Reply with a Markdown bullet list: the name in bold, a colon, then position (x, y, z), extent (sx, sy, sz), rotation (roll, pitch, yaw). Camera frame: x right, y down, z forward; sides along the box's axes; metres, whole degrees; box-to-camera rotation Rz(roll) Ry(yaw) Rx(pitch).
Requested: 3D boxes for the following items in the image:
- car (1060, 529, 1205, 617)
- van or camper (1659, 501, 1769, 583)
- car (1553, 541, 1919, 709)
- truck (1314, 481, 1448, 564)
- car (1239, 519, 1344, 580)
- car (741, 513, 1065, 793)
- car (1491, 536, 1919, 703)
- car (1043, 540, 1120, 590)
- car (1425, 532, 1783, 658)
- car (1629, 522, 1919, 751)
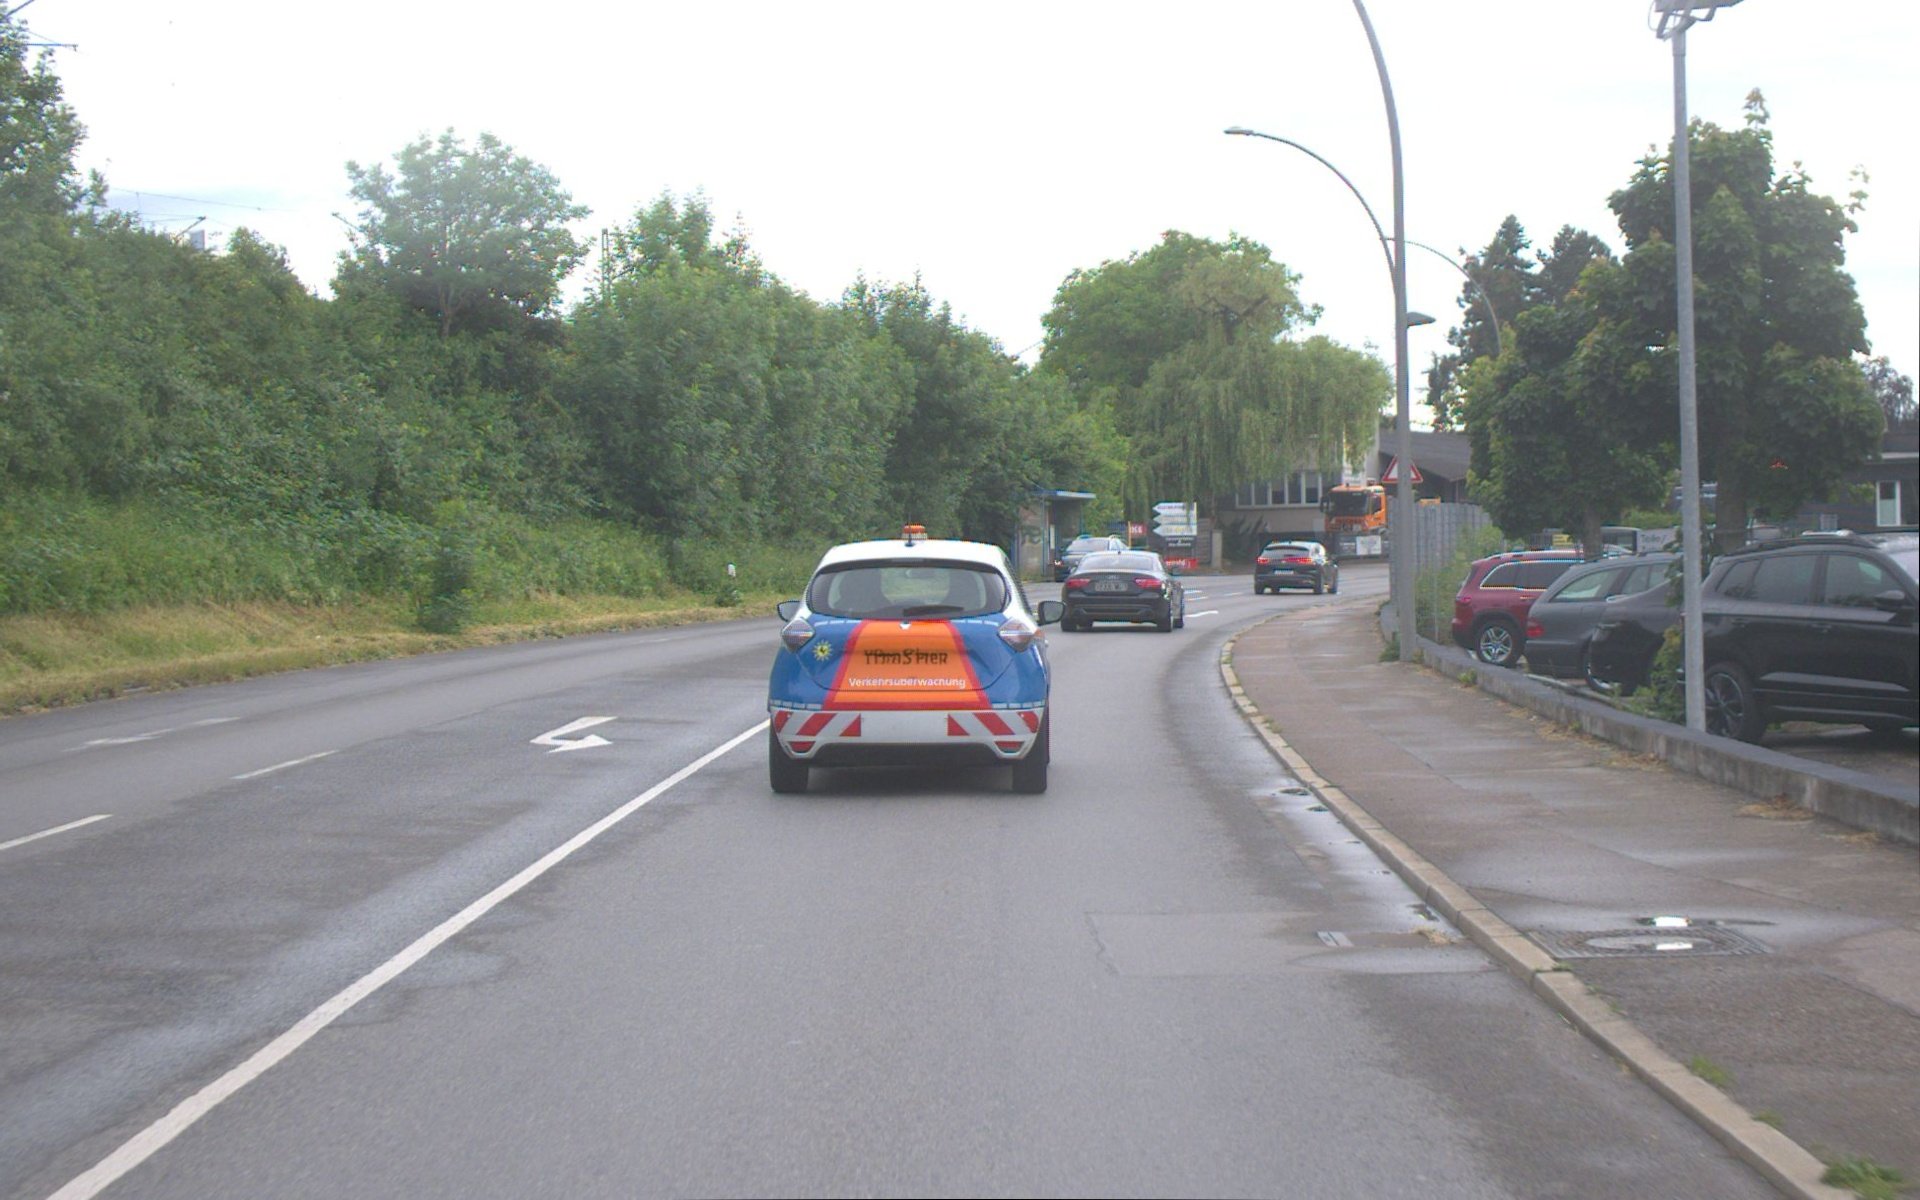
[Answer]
- **car**: position (2.960, -0.435, 58.243), extent (1.721, 1.371, 3.931), rotation (2, 0, 13)
- **van or camper**: position (24.670, -1.919, 112.260), extent (2.044, 2.584, 6.581), rotation (0, 1, 25)
- **car**: position (7.957, 0.199, 31.927), extent (4.437, 1.474, 1.930), rotation (1, 1, 36)
- **truck**: position (19.386, -3.517, 157.689), extent (2.702, 3.400, 9.056), rotation (2, 0, 30)
- **car**: position (8.862, -1.343, 91.627), extent (1.995, 1.415, 3.997), rotation (3, 0, 16)
- **car**: position (-0.342, 0.276, 22.398), extent (1.888, 1.626, 4.000), rotation (-1, 1, 0)
- **car**: position (7.729, 0.187, 35.504), extent (3.997, 1.550, 1.894), rotation (2, 0, 40)
- **car**: position (3.902, -1.090, 109.978), extent (1.994, 1.469, 4.699), rotation (2, 0, 7)
- **car**: position (9.421, -0.078, 50.423), extent (4.691, 1.657, 1.996), rotation (2, 0, 33)
- **car**: position (7.192, 0.233, 25.844), extent (1.836, 1.602, 4.550), rotation (-2, 2, -27)
